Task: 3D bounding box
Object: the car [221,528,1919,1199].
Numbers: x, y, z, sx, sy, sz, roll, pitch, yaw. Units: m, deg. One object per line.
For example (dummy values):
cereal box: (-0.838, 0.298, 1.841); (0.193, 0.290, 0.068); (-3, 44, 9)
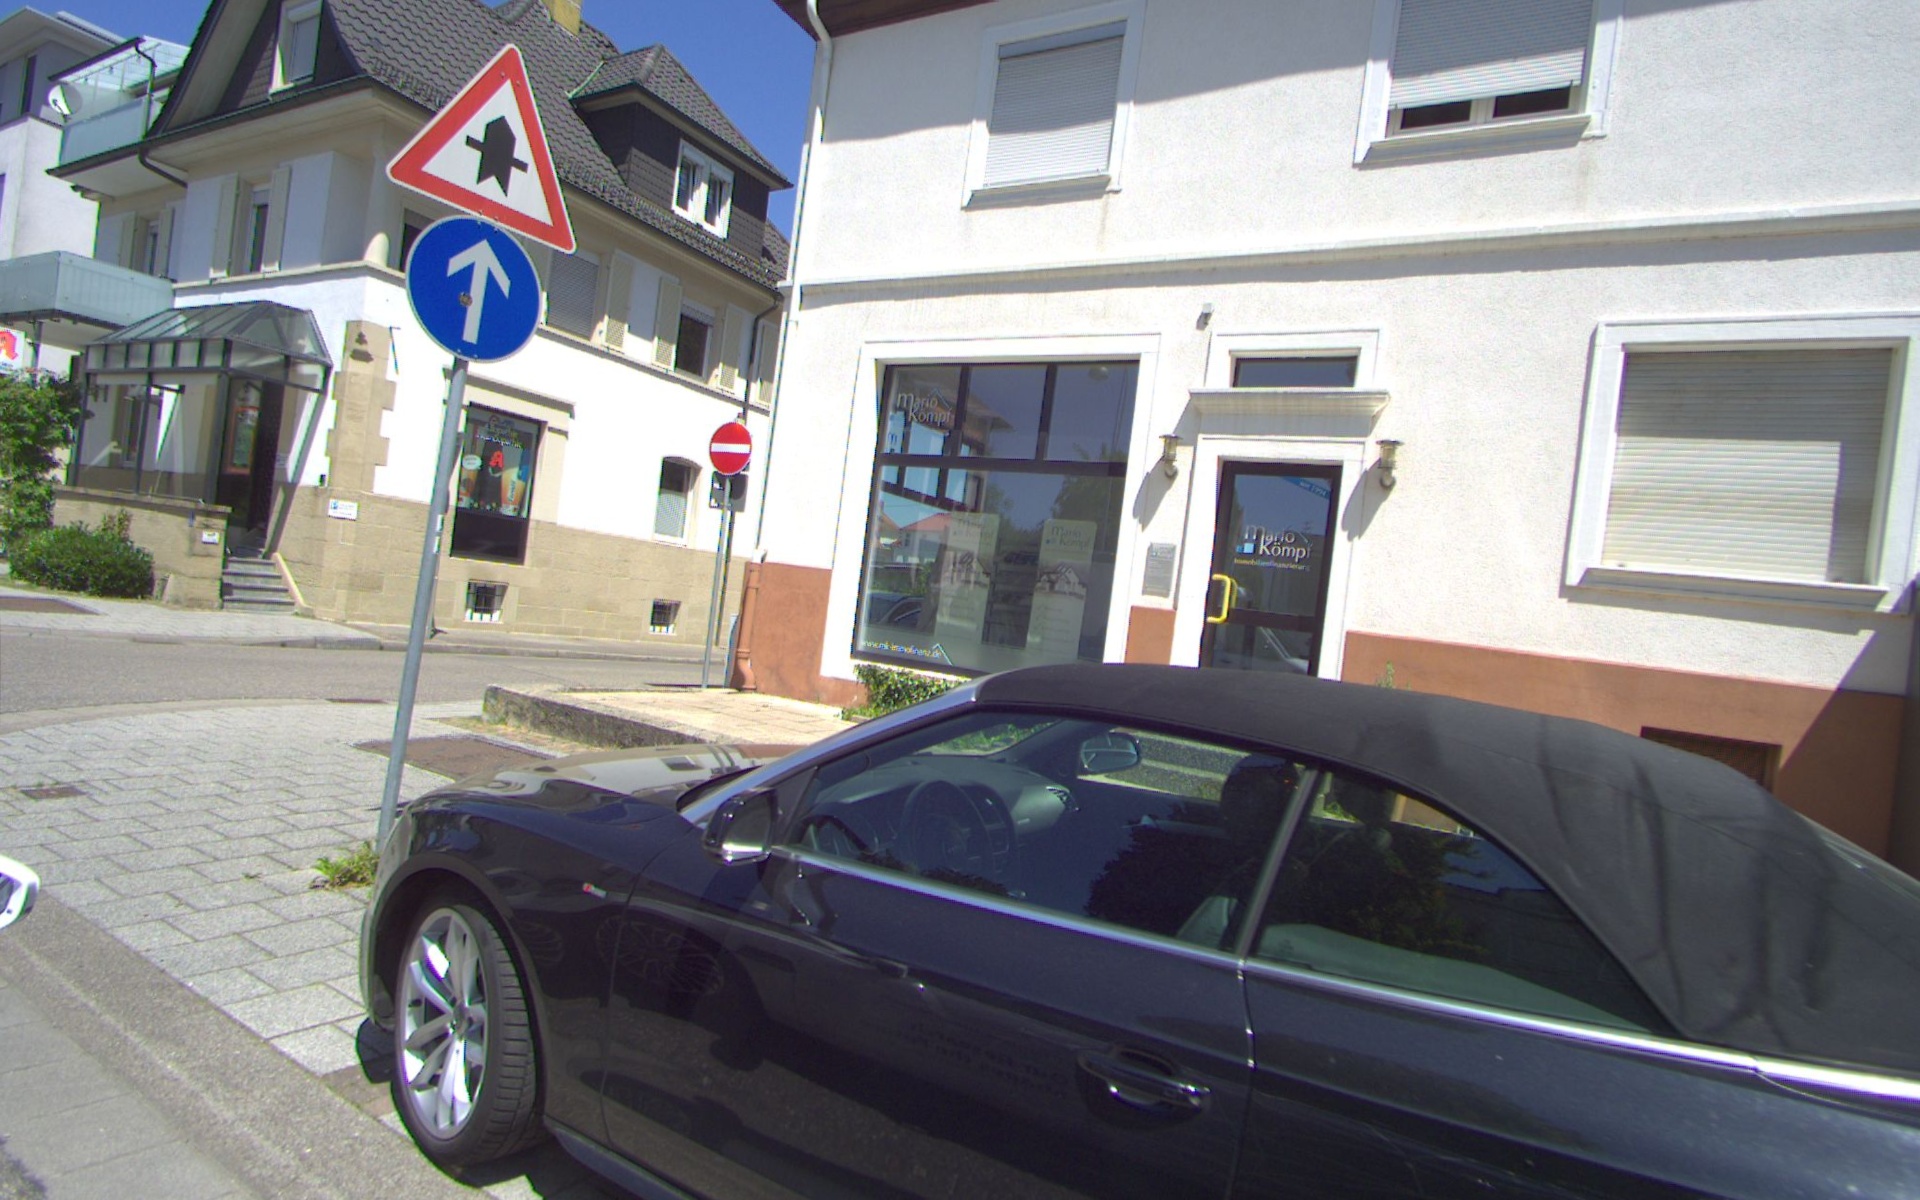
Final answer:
car: (0.300, 0.779, 2.530); (4.622, 1.445, 1.828); (7, 1, 32)
